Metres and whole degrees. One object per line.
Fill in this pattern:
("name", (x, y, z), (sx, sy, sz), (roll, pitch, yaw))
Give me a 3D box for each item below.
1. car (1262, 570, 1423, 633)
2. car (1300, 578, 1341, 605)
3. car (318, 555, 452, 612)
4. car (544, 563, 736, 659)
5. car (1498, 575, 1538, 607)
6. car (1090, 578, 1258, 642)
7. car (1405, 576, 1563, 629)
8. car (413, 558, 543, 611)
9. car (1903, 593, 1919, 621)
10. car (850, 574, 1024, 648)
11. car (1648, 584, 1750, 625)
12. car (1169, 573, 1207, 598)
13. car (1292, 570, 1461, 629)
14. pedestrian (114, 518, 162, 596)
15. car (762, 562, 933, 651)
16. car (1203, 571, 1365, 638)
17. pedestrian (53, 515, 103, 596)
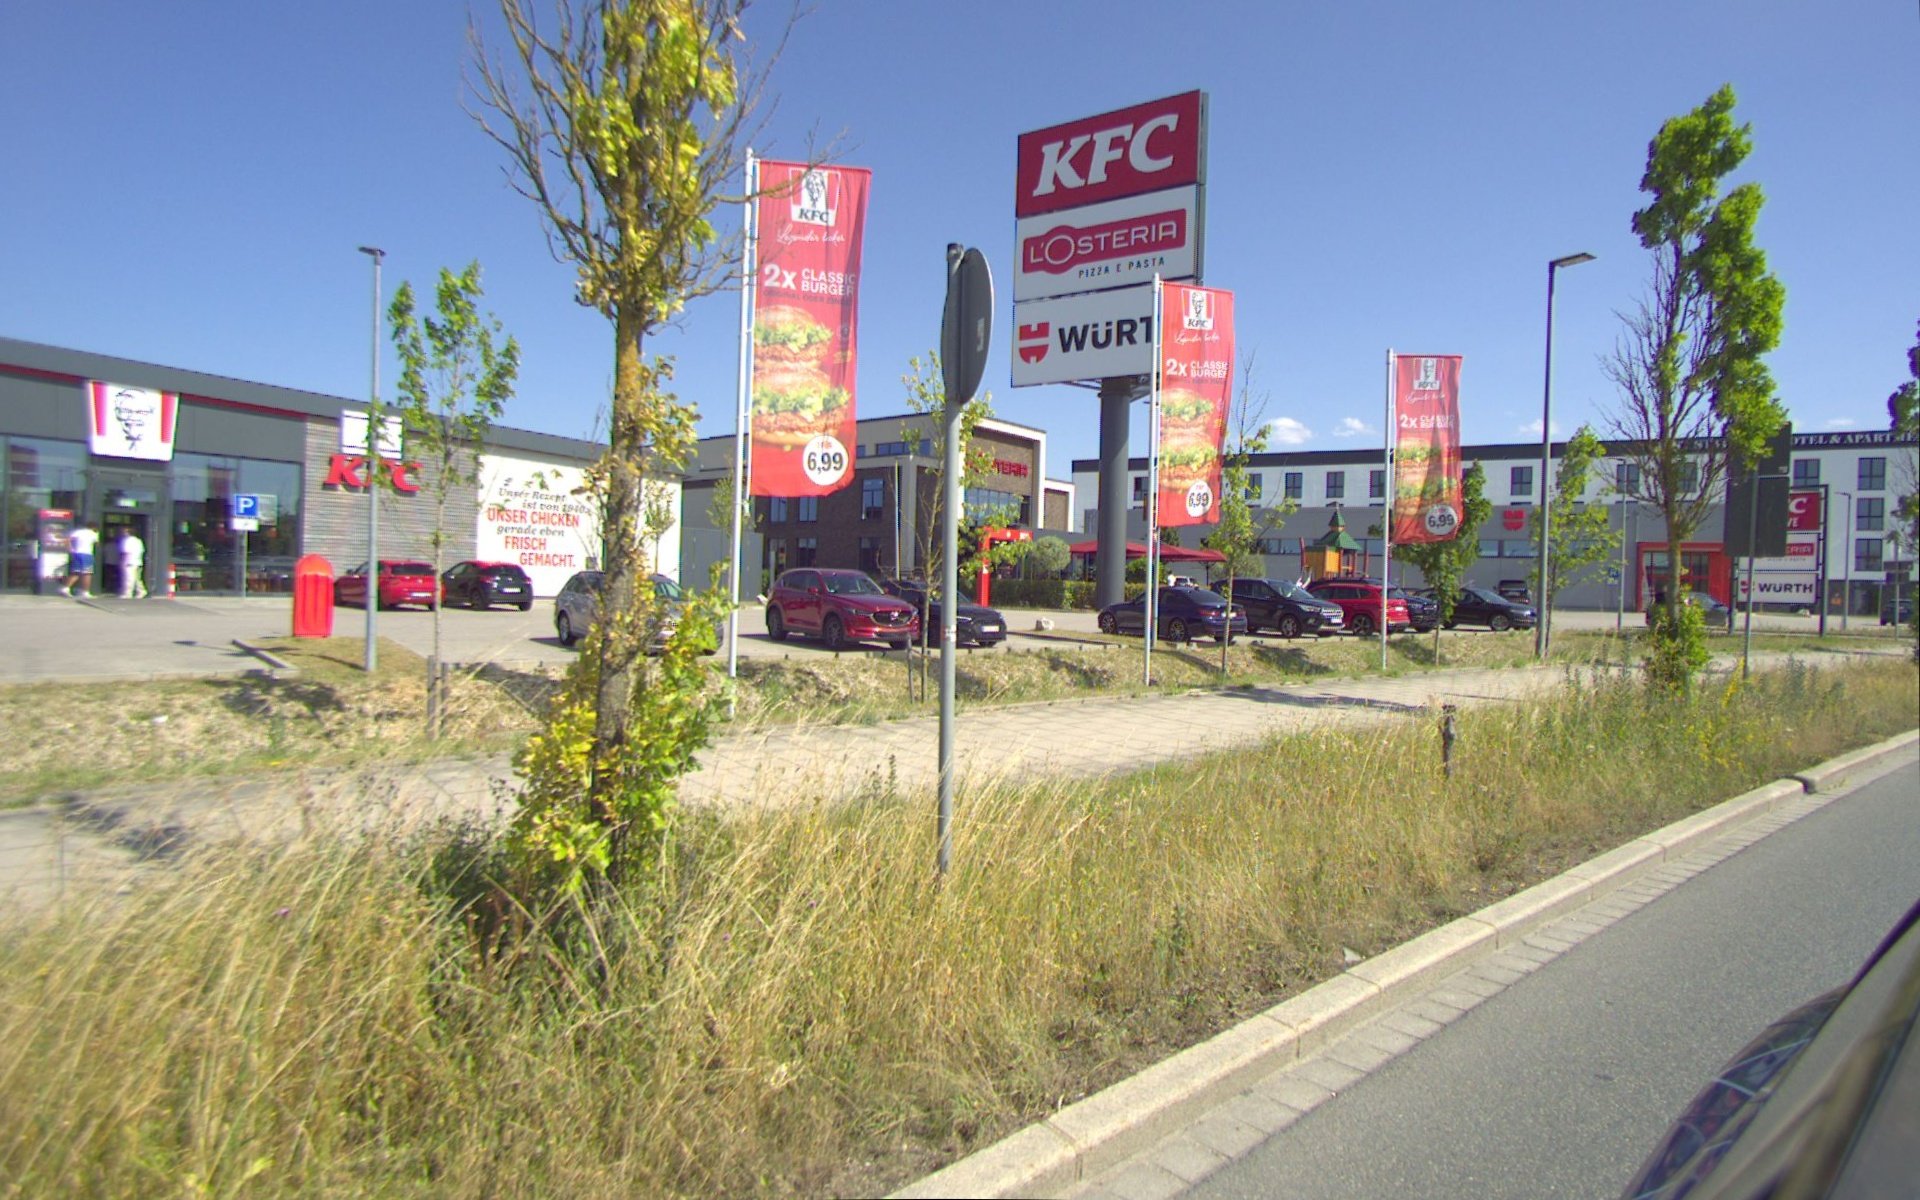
("car", (11.891, 0.000, 31.696), (1.758, 1.756, 4.418), (1, 2, -38))
("car", (20.899, -0.514, 58.548), (1.686, 1.490, 4.192), (1, 1, 27))
("car", (-16.678, -0.502, 29.268), (4.548, 1.449, 1.842), (3, 2, 39))
("car", (-6.119, 0.128, 19.028), (1.835, 1.508, 4.566), (1, 2, -40))
("car", (34.488, -0.566, 62.537), (2.032, 1.838, 4.872), (2, 1, 30))
("car", (5.641, 0.220, 27.239), (1.756, 1.467, 4.423), (1, 2, -34))
("car", (18.061, 0.050, 35.052), (1.957, 1.586, 4.422), (1, 2, -35))
("car", (-14.941, -0.500, 31.268), (4.548, 1.449, 1.842), (3, 2, 39))
("car", (50.803, 0.399, 52.897), (3.925, 1.425, 1.518), (1, 1, -36))
("car", (-0.617, 0.203, 23.518), (1.760, 1.467, 4.160), (1, 2, -42))
("car", (29.883, 0.159, 40.910), (4.085, 1.559, 1.788), (0, 1, -29))
("car", (16.735, -1.085, 74.227), (1.687, 1.779, 4.068), (1, 1, 28))
("car", (13.945, -0.053, 34.205), (1.902, 1.756, 5.000), (1, 2, -35))
("pedestrian", (-22.039, -1.141, 27.135), (0.913, 2.039, 0.877), (2, 1, 43))
("car", (-2.533, 0.075, 21.904), (1.834, 1.686, 4.167), (1, 2, -36))
("car", (9.495, 0.085, 30.024), (1.756, 1.756, 4.424), (1, 2, -33))
("pedestrian", (-22.768, -1.135, 26.119), (0.913, 2.039, 0.877), (2, 1, 43))
